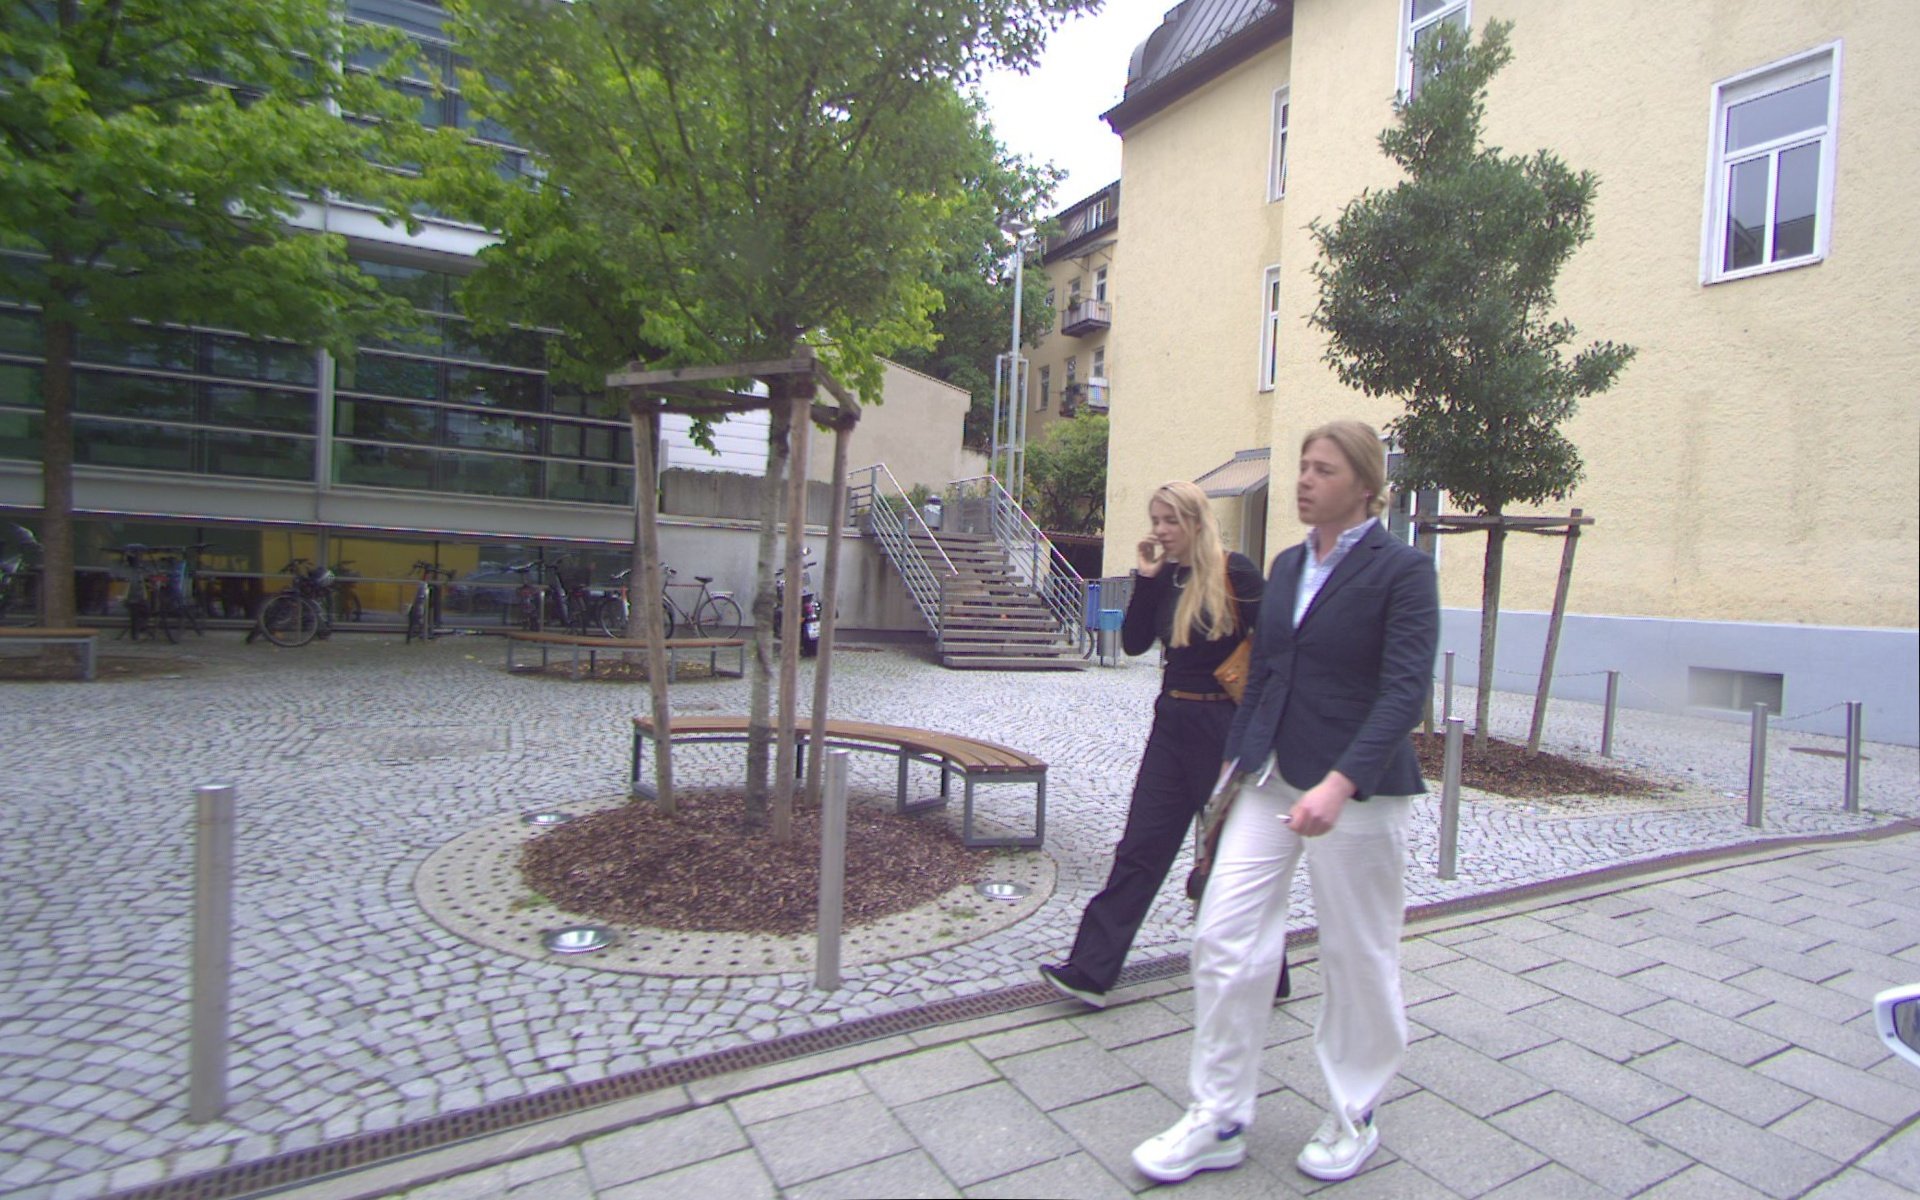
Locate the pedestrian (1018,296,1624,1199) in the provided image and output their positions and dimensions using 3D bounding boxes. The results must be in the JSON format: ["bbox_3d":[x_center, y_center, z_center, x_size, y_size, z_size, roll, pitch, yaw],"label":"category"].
[{"bbox_3d":[0.792,0.424,2.288,0.980,1.861,0.771,2,1,-31],"label":"pedestrian"}]

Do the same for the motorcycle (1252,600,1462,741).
[{"bbox_3d":[3.697,0.652,9.318,1.954,1.188,0.574,3,2,-26],"label":"motorcycle"}]

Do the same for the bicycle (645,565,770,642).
[{"bbox_3d":[-3.832,0.064,15.297,1.772,1.106,0.414,2,1,-27],"label":"bicycle"}]

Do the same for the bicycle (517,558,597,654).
[{"bbox_3d":[-5.369,0.049,13.310,0.815,1.141,1.890,2,2,-26],"label":"bicycle"}]

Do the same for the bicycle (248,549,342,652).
[{"bbox_3d":[-7.886,-0.031,11.979,0.657,1.121,1.890,2,2,-26],"label":"bicycle"}]

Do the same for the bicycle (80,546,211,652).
[{"bbox_3d":[-9.096,-0.048,11.299,0.696,1.073,1.890,2,2,-26],"label":"bicycle"}]

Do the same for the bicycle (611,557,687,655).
[{"bbox_3d":[-4.308,0.049,13.823,0.689,1.220,1.890,2,2,-26],"label":"bicycle"}]

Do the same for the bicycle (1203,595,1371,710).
[{"bbox_3d":[3.941,0.602,12.295,0.738,1.188,1.967,3,2,-26],"label":"bicycle"}]

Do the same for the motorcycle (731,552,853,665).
[{"bbox_3d":[-2.440,0.071,14.212,0.957,1.430,2.656,2,1,-26],"label":"motorcycle"}]

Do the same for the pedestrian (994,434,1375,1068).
[{"bbox_3d":[0.703,0.411,3.146,0.986,1.682,0.549,2,1,-31],"label":"pedestrian"}]

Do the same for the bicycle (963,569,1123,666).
[{"bbox_3d":[1.195,0.217,15.685,0.758,1.268,3.208,2,2,-30],"label":"bicycle"}]

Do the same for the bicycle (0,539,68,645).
[{"bbox_3d":[-10.324,-0.117,10.848,0.621,1.074,1.566,2,2,-27],"label":"bicycle"}]

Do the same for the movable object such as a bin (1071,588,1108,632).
[{"bbox_3d":[2.984,0.227,23.231,0.641,0.984,0.475,2,2,-27],"label":"movable object such as a bin"}]

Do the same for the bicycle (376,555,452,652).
[{"bbox_3d":[-6.799,0.011,12.576,0.699,1.089,1.890,2,2,-26],"label":"bicycle"}]

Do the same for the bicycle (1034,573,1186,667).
[{"bbox_3d":[2.310,0.271,16.012,0.758,1.268,2.838,2,2,-30],"label":"bicycle"}]
